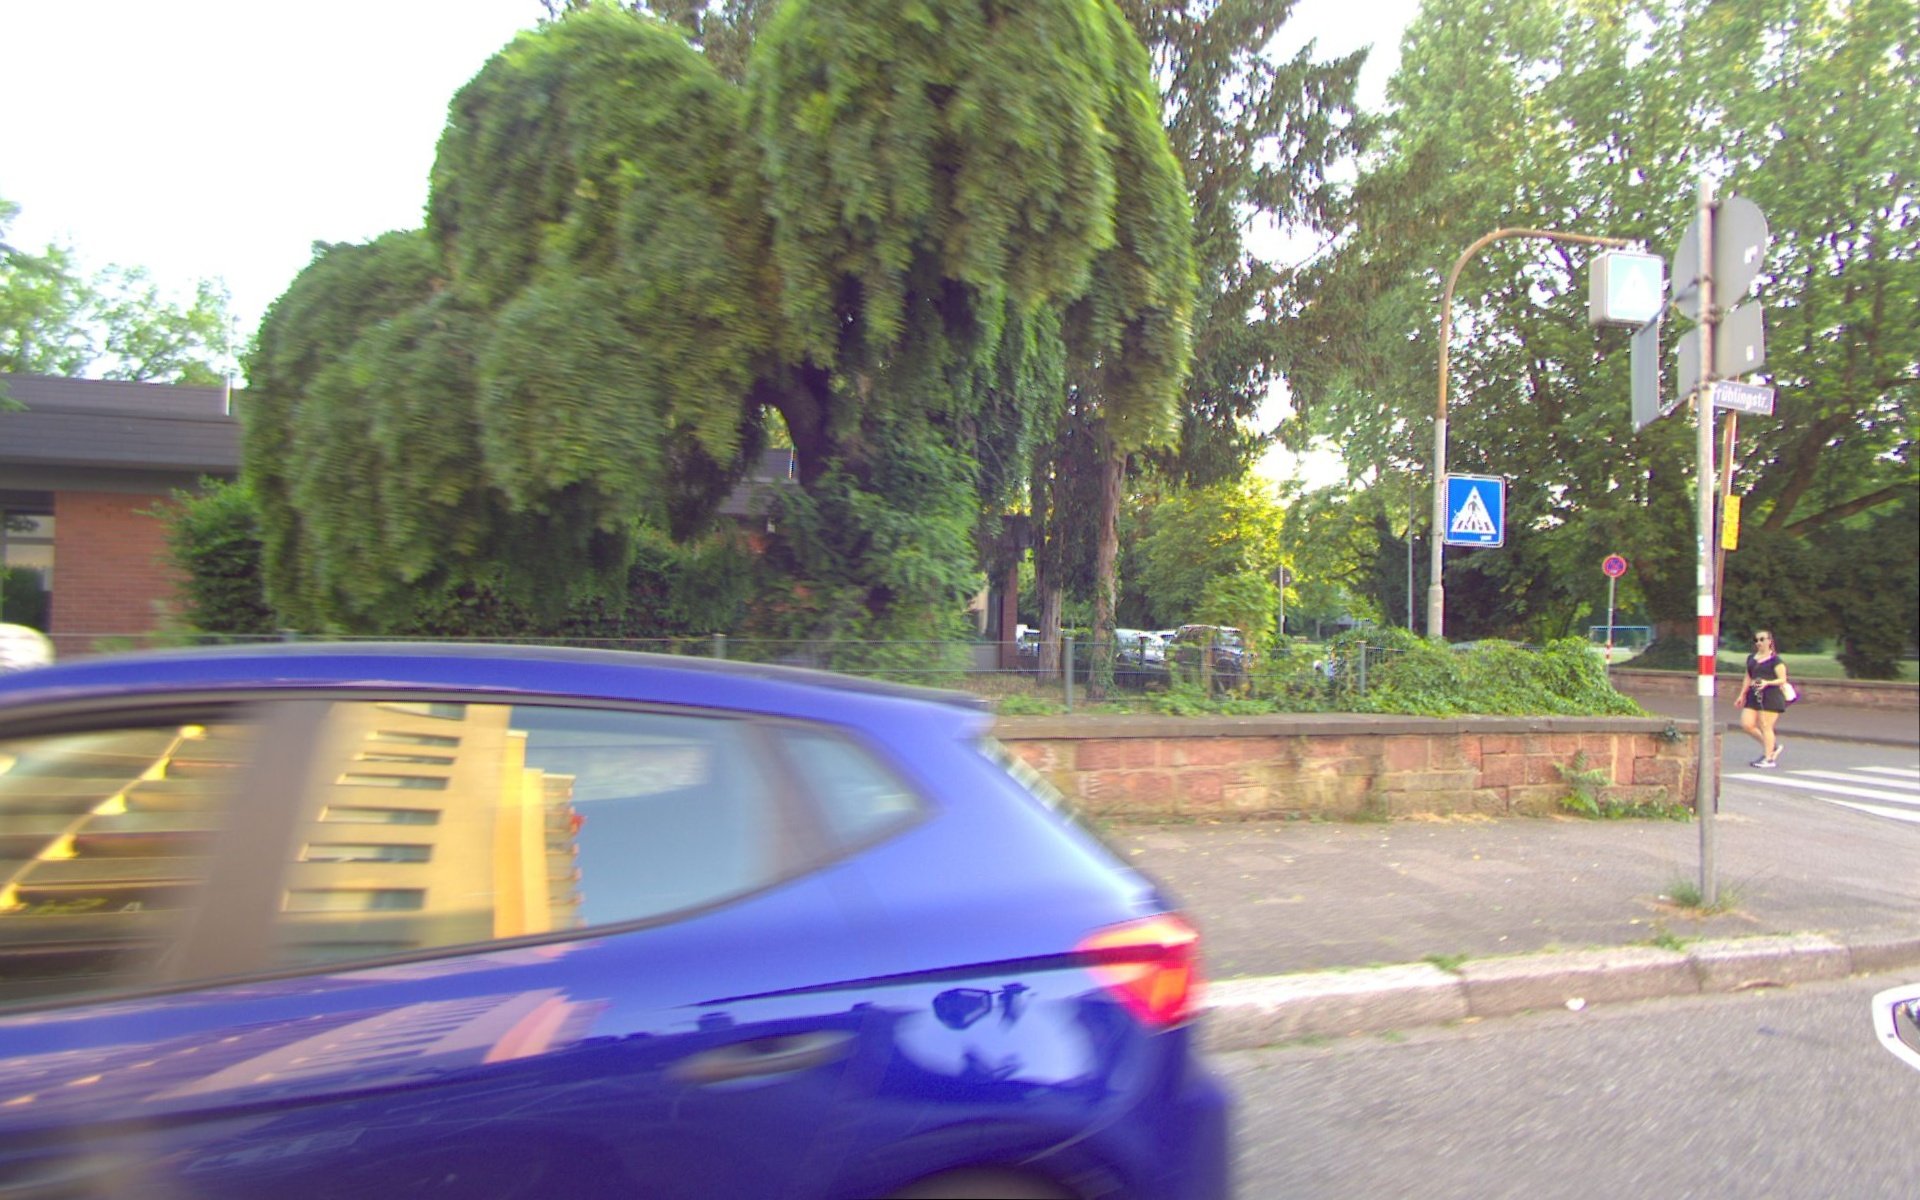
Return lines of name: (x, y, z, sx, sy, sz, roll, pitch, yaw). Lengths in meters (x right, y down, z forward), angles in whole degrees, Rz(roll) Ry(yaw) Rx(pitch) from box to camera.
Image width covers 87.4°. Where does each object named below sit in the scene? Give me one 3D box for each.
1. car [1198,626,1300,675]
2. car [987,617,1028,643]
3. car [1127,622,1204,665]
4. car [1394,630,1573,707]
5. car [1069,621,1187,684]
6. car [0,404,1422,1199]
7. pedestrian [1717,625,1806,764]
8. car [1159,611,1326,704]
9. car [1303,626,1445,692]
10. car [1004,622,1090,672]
car: (10.173, 1.758, 35.654, 1.791, 1.458, 3.875, -5, -1, -12)
car: (3.269, 2.106, 69.712, 1.791, 1.624, 3.875, -5, -1, -12)
car: (8.884, 1.879, 43.758, 1.791, 1.624, 3.875, -5, -1, -12)
car: (12.429, 1.576, 24.150, 1.790, 1.511, 3.860, -5, -1, -9)
car: (4.658, 1.469, 28.483, 1.792, 1.565, 4.232, 4, -3, -13)
car: (-1.239, 0.613, 1.959, 3.731, 1.588, 1.732, 1, -3, -19)
pedestrian: (10.065, 1.158, 12.626, 0.665, 1.671, 0.644, 0, 1, -28)
car: (6.263, 1.274, 22.815, 1.792, 1.822, 4.232, 4, -3, -13)
car: (11.786, 1.660, 28.894, 1.791, 1.583, 3.875, -5, -1, -12)
car: (3.020, 1.675, 35.865, 1.792, 1.565, 4.232, 4, -3, -13)
